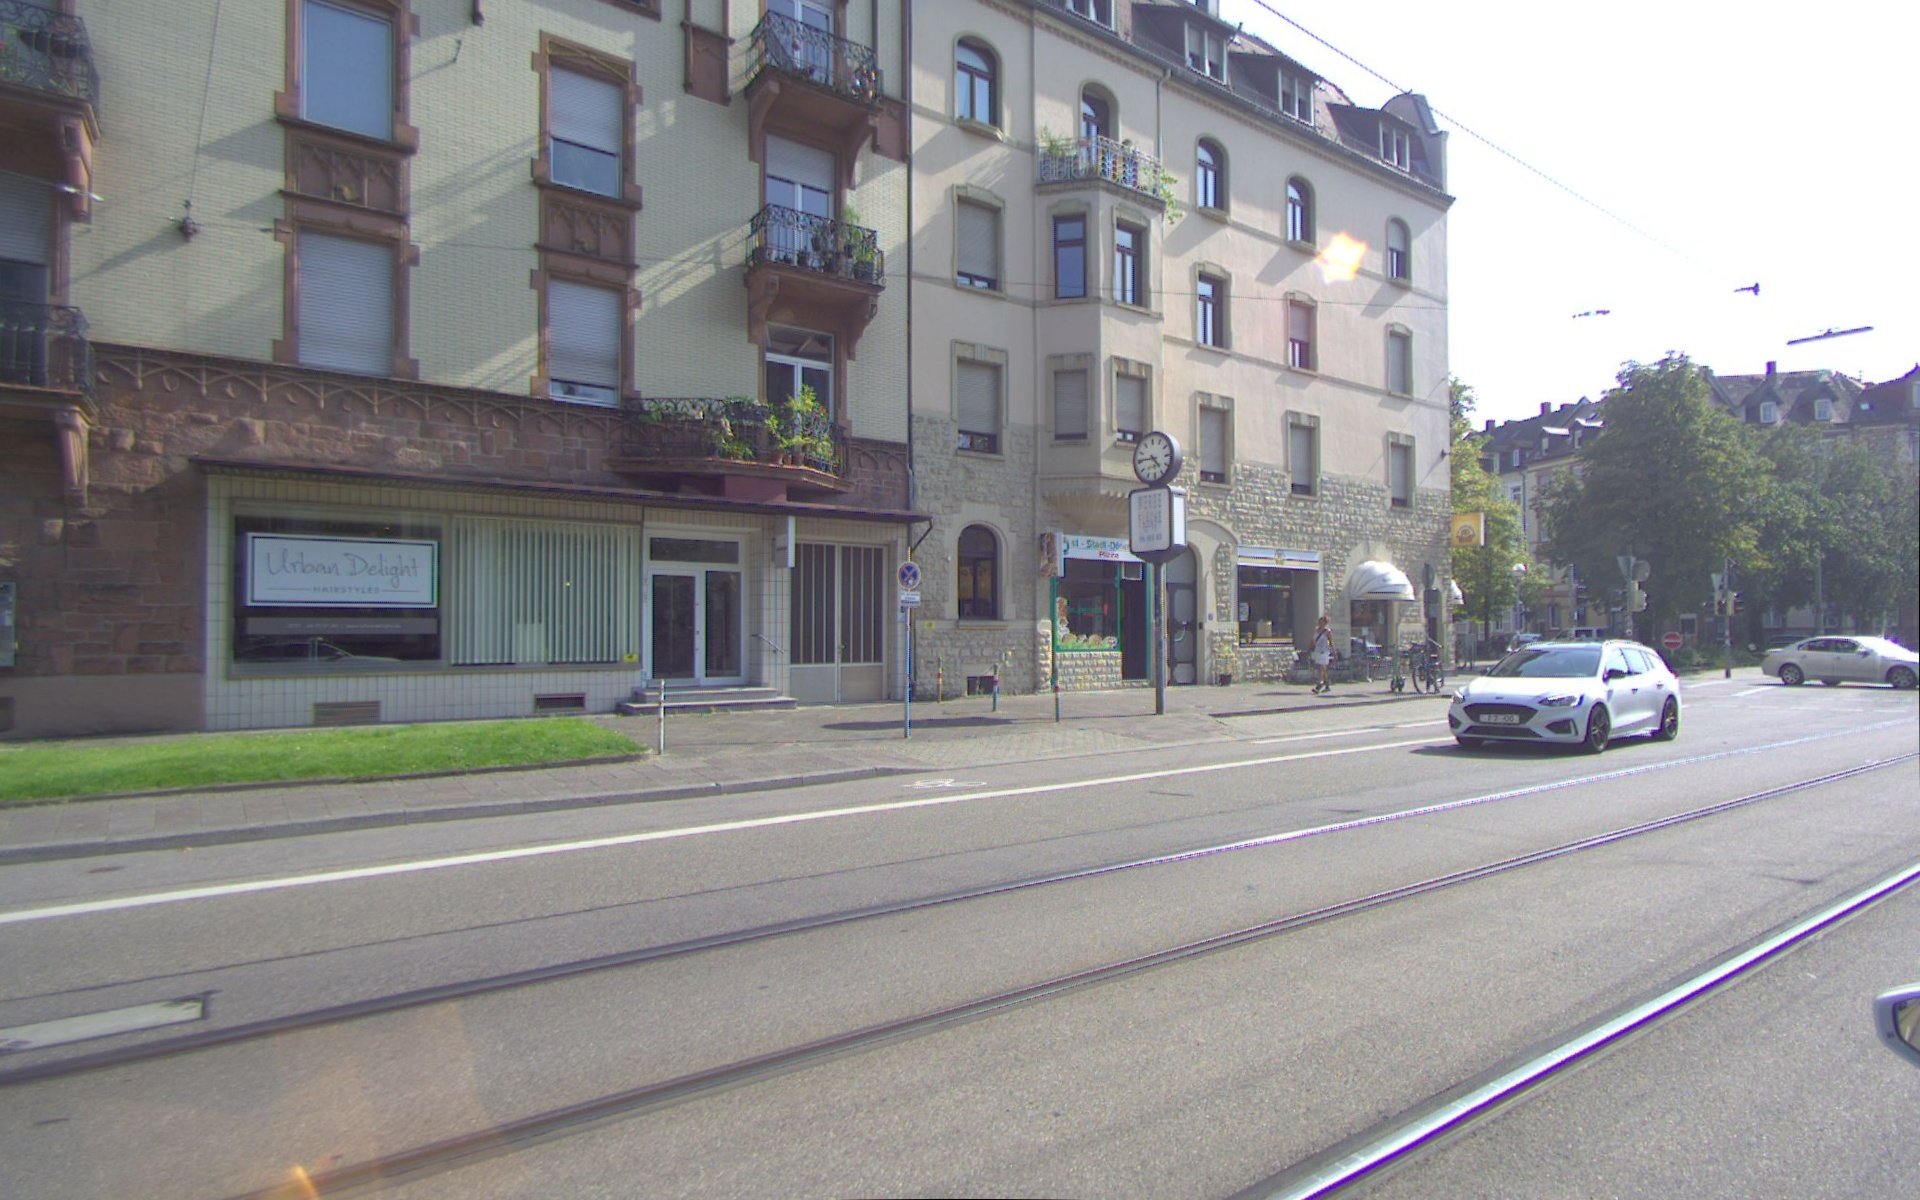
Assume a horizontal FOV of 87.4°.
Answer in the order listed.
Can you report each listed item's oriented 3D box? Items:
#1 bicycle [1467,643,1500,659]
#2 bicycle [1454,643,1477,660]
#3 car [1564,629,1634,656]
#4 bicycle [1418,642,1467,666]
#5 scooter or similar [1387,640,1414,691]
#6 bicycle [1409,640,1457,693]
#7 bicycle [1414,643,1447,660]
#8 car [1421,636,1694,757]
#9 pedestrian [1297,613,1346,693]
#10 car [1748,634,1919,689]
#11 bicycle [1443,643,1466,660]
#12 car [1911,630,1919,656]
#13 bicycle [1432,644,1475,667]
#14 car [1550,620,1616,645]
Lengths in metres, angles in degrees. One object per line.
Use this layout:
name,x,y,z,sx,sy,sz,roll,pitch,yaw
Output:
bicycle,32.473,3.153,62.308,0.597,0.990,1.758,0,-2,-26
bicycle,30.147,3.084,59.874,1.752,0.990,0.422,1,-2,-35
car,45.396,2.970,71.470,1.965,1.852,3.991,0,-2,-13
bicycle,20.618,2.310,42.932,1.841,1.017,0.570,1,-2,2
scooter or similar,10.922,1.615,24.932,0.359,1.213,1.035,0,-2,9
bicycle,11.674,1.614,24.761,1.845,1.242,0.448,1,-2,-45
bicycle,28.286,3.077,60.355,1.740,0.990,0.518,-2,-2,34
car,8.731,1.308,14.540,4.505,1.473,1.859,1,-5,-38
pedestrian,8.717,1.266,24.215,0.822,1.884,0.768,1,-2,-37
car,26.158,1.736,29.303,1.840,1.485,4.769,0,-2,-17
bicycle,29.469,3.077,59.846,1.752,0.990,0.422,1,-2,-35
car,60.488,2.601,60.587,4.265,1.590,1.994,-1,-2,35
bicycle,20.371,2.306,41.471,1.578,0.932,0.479,1,-2,-4
car,47.224,2.443,76.229,1.965,1.852,3.991,0,-2,-13
